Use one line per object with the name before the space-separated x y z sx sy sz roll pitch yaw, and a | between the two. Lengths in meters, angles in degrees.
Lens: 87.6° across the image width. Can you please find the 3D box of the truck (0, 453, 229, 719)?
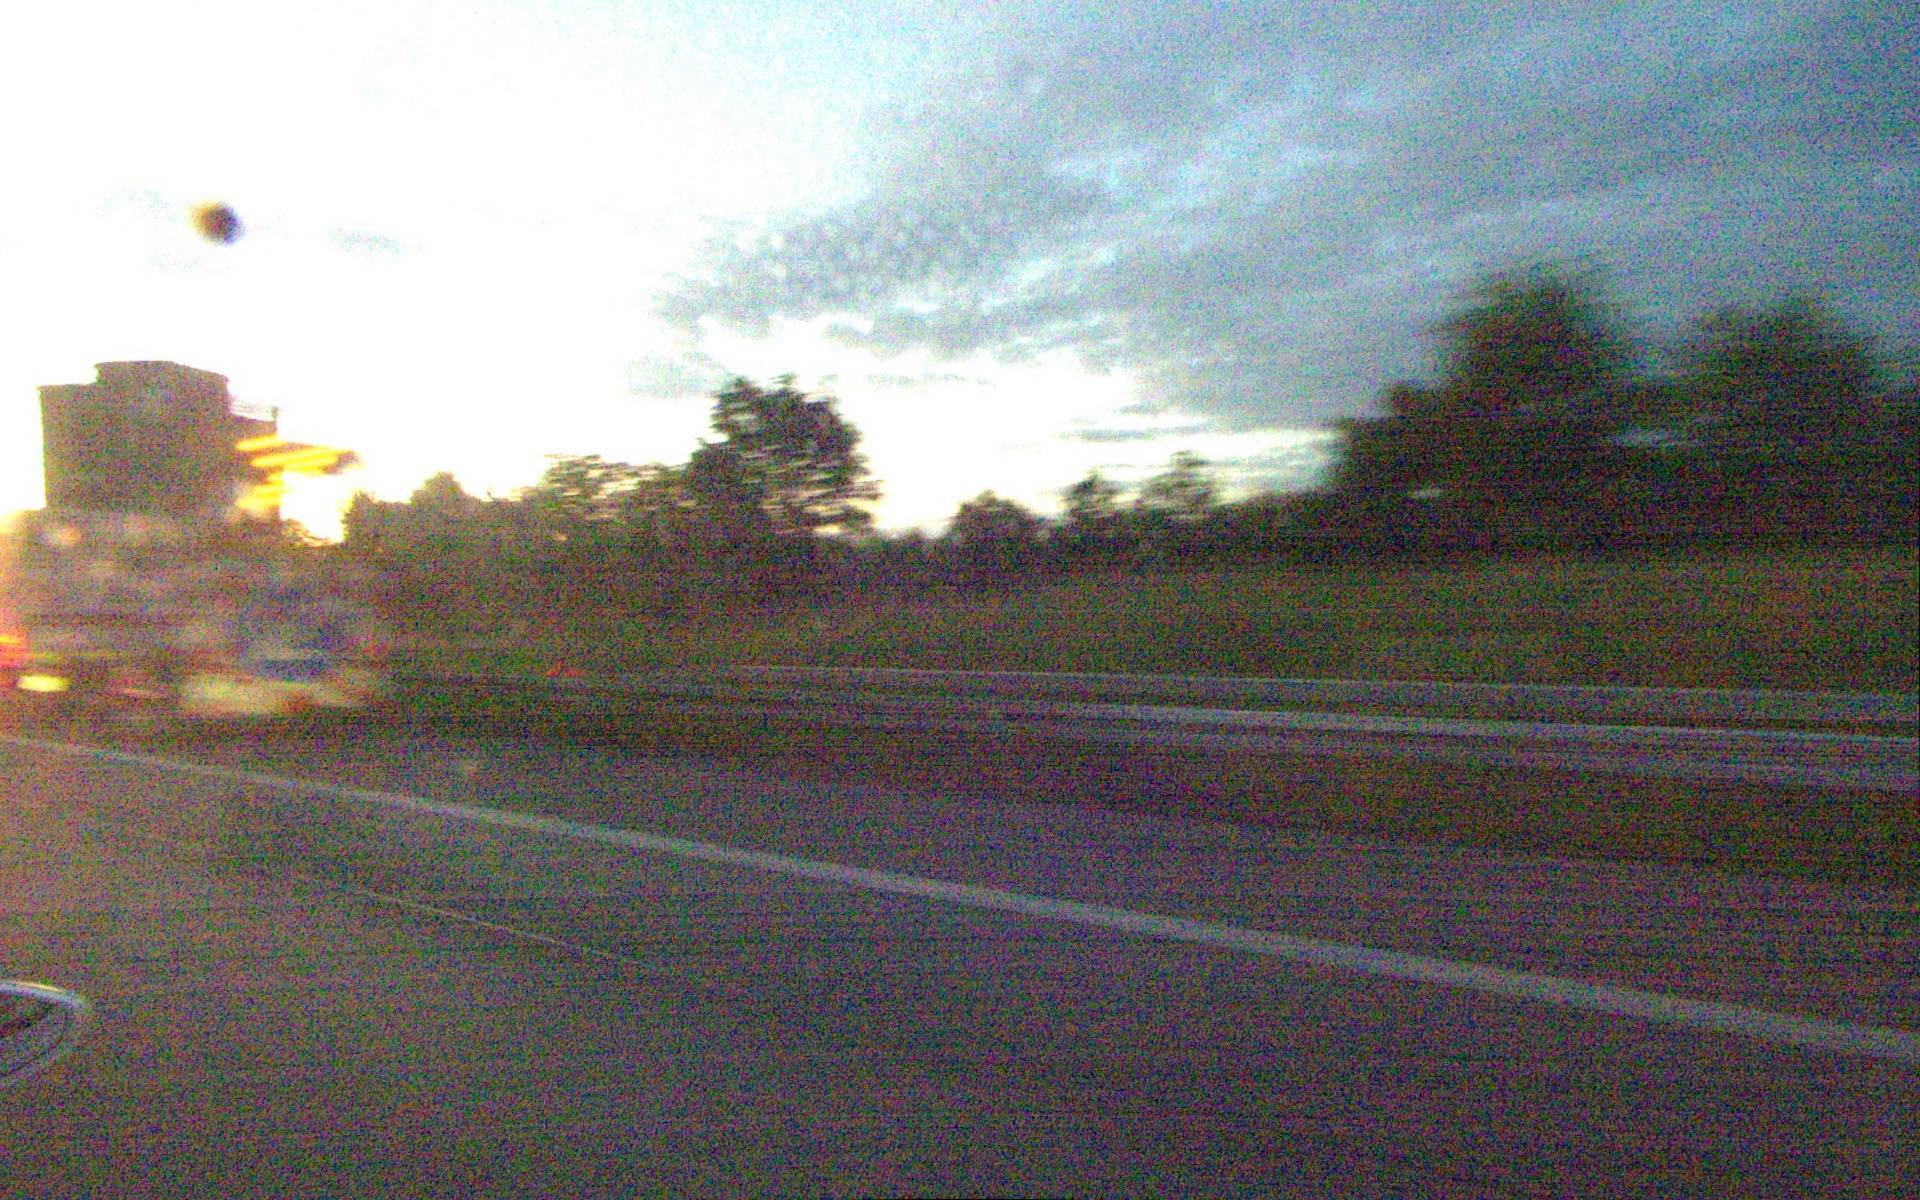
truck | -17.834 -0.165 19.354 9.019 4.166 2.907 -1 0 33

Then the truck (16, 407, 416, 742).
truck | -11.379 -0.270 15.184 6.320 4.112 2.782 -1 0 32
